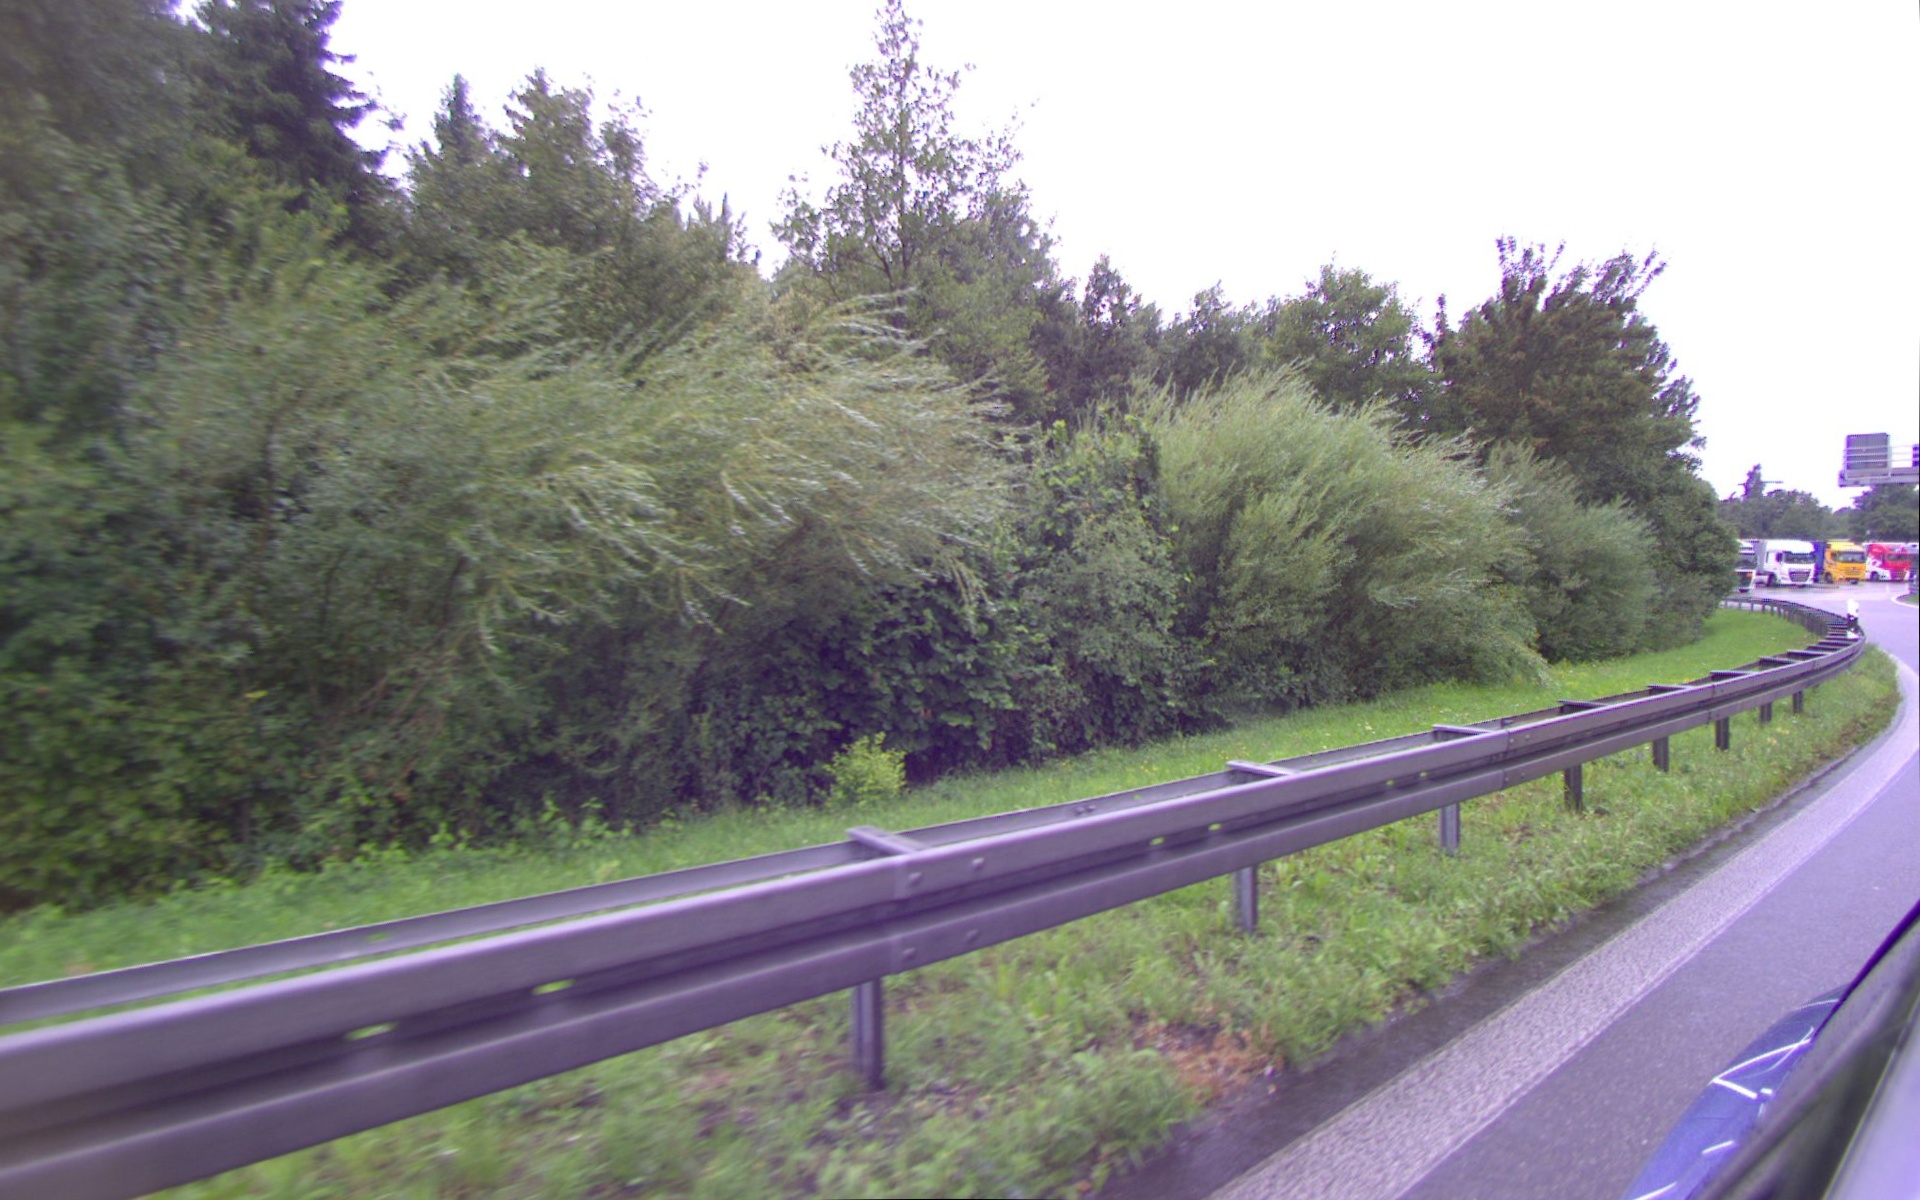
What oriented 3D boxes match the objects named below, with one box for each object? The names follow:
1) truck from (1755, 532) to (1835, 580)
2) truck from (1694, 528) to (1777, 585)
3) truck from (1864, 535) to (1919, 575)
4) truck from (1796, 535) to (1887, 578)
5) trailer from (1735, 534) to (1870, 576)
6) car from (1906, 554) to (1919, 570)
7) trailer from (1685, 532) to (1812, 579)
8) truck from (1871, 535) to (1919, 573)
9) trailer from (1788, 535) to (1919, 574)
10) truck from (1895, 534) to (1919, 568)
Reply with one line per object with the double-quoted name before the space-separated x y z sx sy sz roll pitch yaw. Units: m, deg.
"truck" 71.415 -3.765 86.704 2.785 3.960 5.400 1 3 9
"truck" 59.272 -3.349 77.534 2.781 4.195 5.291 1 3 10
"truck" 97.345 -4.700 104.773 3.191 3.966 5.015 1 3 7
"truck" 85.371 -4.321 98.190 2.796 3.966 8.109 1 3 11
"trailer" 86.593 -4.816 104.731 2.823 3.966 16.594 1 3 10
"car" 114.081 -4.447 119.278 1.818 1.881 3.991 0 3 9
"trailer" 72.549 -4.239 93.658 2.798 3.966 13.926 1 3 9
"truck" 101.178 -4.915 107.752 2.850 3.966 6.547 1 3 7
"trailer" 98.167 -5.133 111.453 3.191 3.966 14.812 1 3 7
"truck" 119.051 -5.996 123.404 3.191 4.140 7.928 1 3 7
